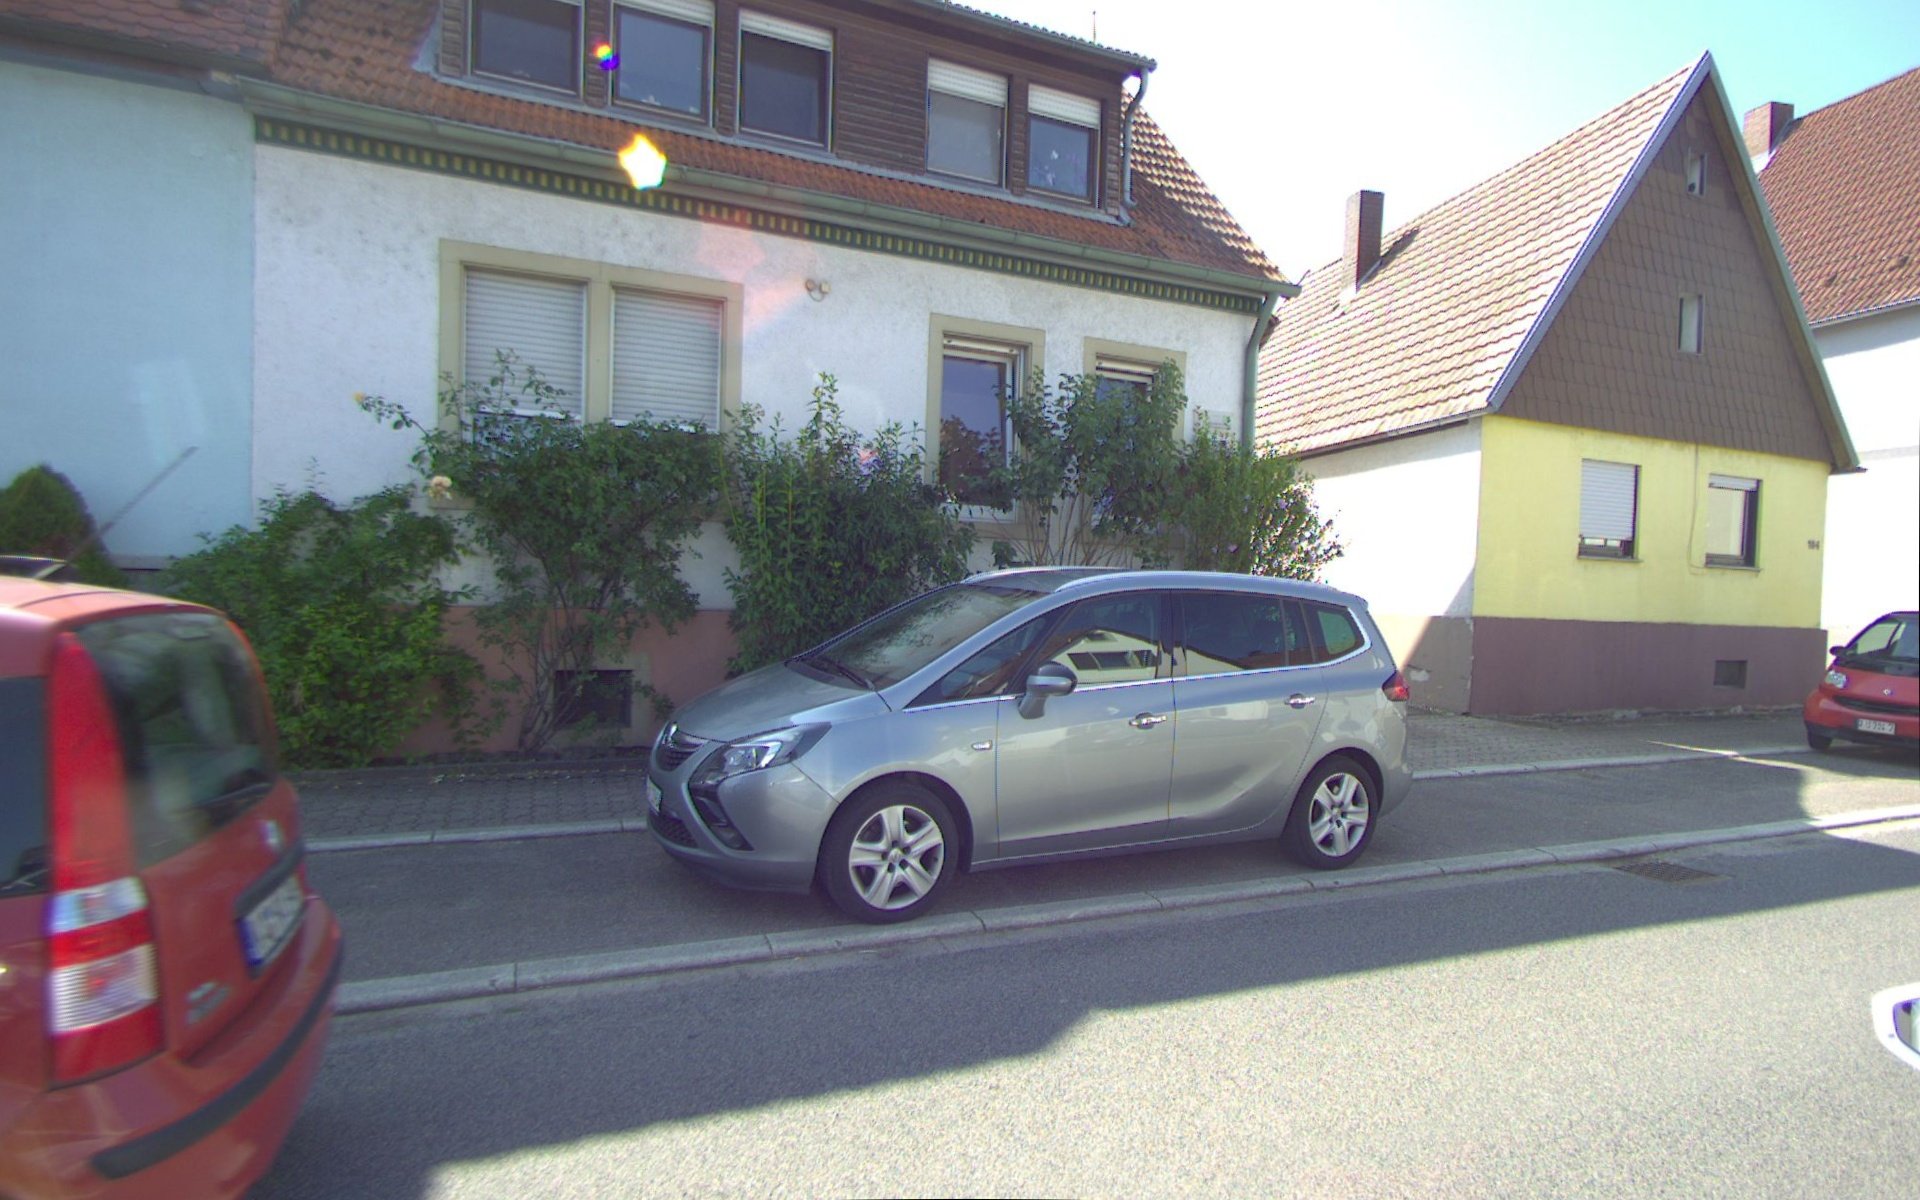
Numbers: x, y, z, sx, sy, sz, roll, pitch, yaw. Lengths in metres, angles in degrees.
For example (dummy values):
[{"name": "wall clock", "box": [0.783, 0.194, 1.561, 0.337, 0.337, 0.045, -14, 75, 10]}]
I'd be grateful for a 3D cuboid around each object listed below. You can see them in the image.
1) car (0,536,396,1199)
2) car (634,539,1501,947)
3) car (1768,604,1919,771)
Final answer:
[{"name": "car", "box": [-3.032, 0.594, 1.593, 3.577, 1.509, 1.596, 2, 2, -26]}, {"name": "car", "box": [0.602, 0.614, 5.786, 4.595, 1.658, 1.869, 2, 1, -22]}, {"name": "car", "box": [10.451, 0.896, 10.780, 2.946, 1.565, 1.548, 2, 2, -24]}]
